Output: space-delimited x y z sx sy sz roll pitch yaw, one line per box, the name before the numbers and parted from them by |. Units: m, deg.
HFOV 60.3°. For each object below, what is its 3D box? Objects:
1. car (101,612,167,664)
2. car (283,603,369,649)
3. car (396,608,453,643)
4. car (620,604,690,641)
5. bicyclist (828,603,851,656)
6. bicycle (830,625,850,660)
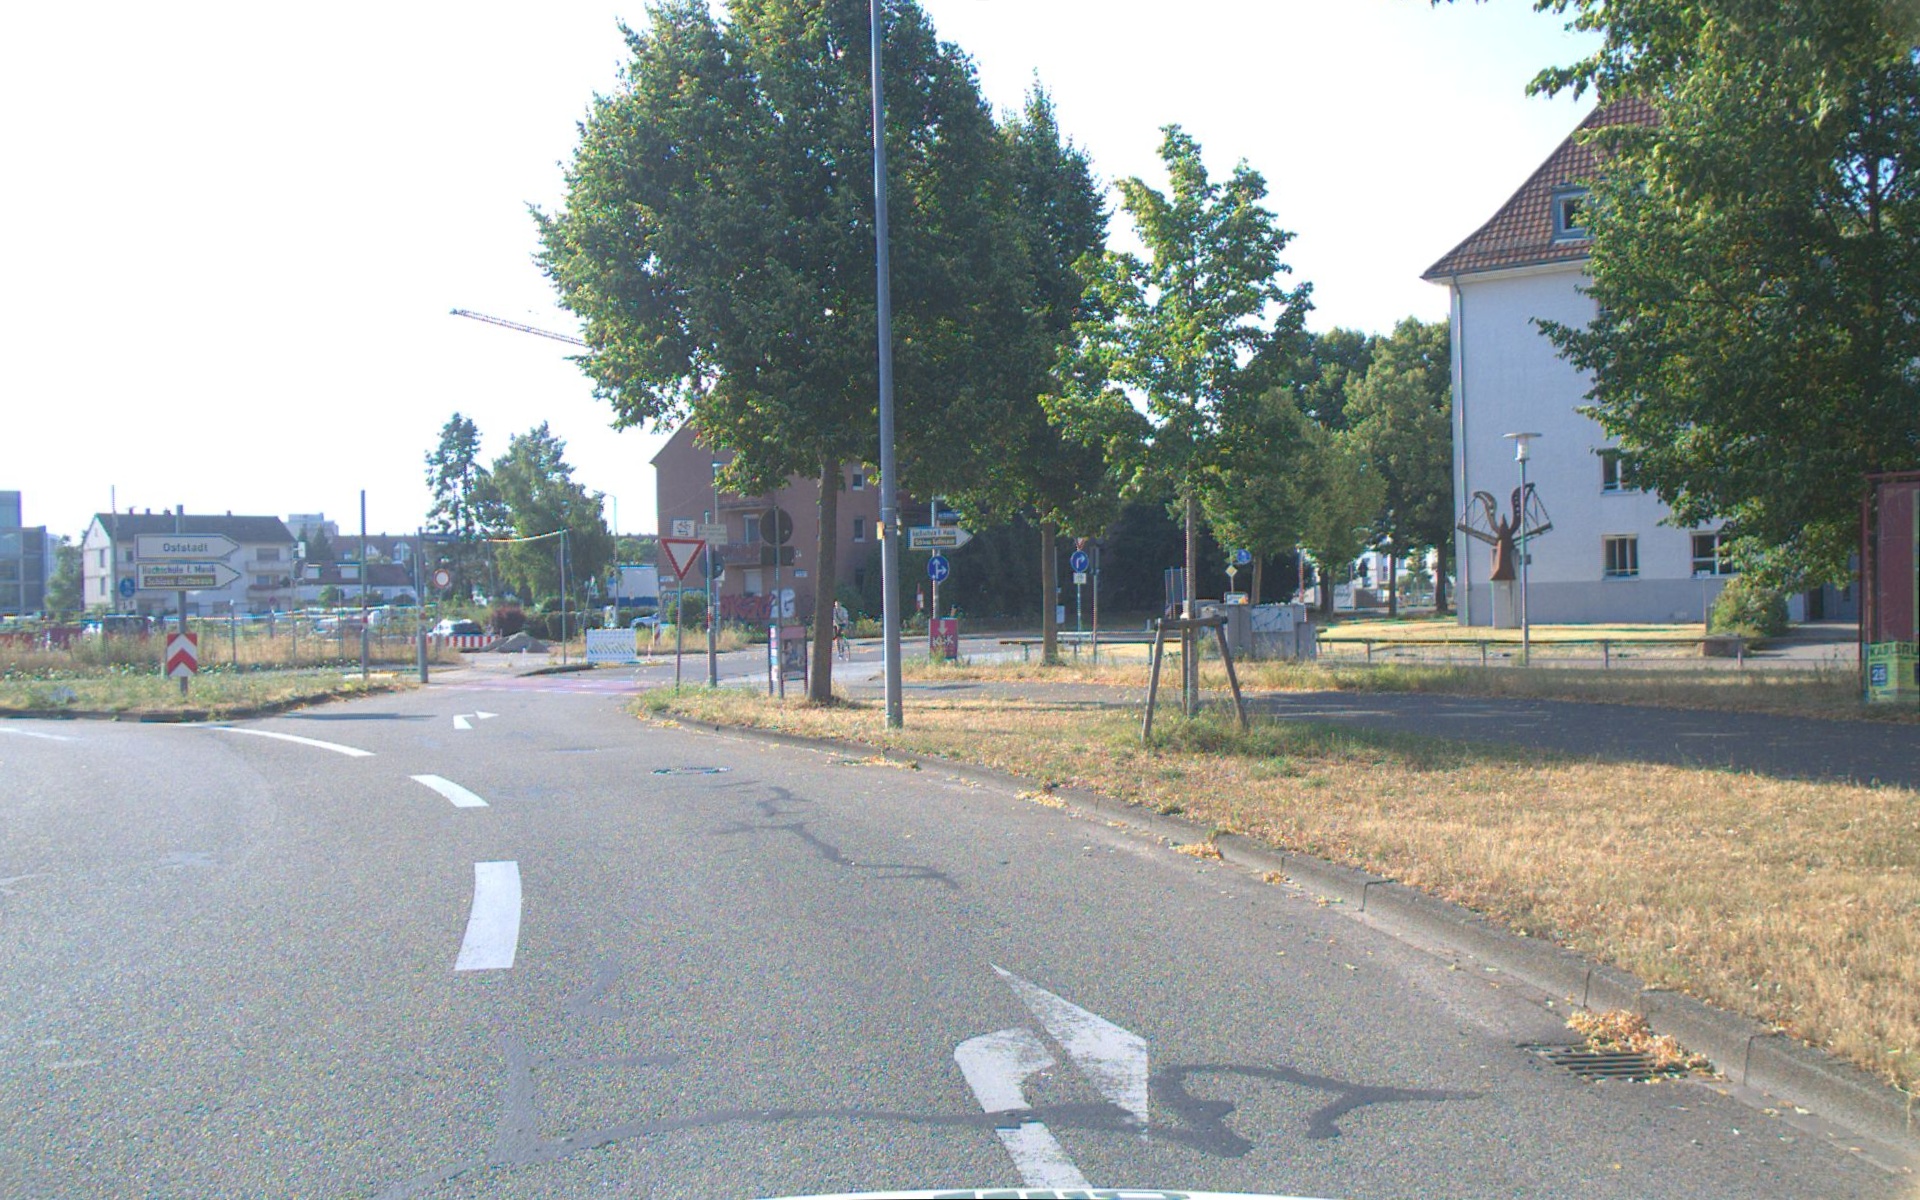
car | -32.476 1.459 65.129 1.892 1.886 3.975 -2 0 -21
car | -29.705 1.229 77.495 3.733 2.049 1.670 -1 0 26
car | -31.695 1.517 97.896 3.756 2.049 1.661 -1 0 44
car | -17.633 1.301 95.628 3.733 2.049 1.670 -1 0 26
bicyclist | -3.640 0.884 50.011 0.645 1.589 0.893 -1 0 -5
bicycle | -3.630 1.275 49.854 0.585 0.980 2.103 -1 0 -5
